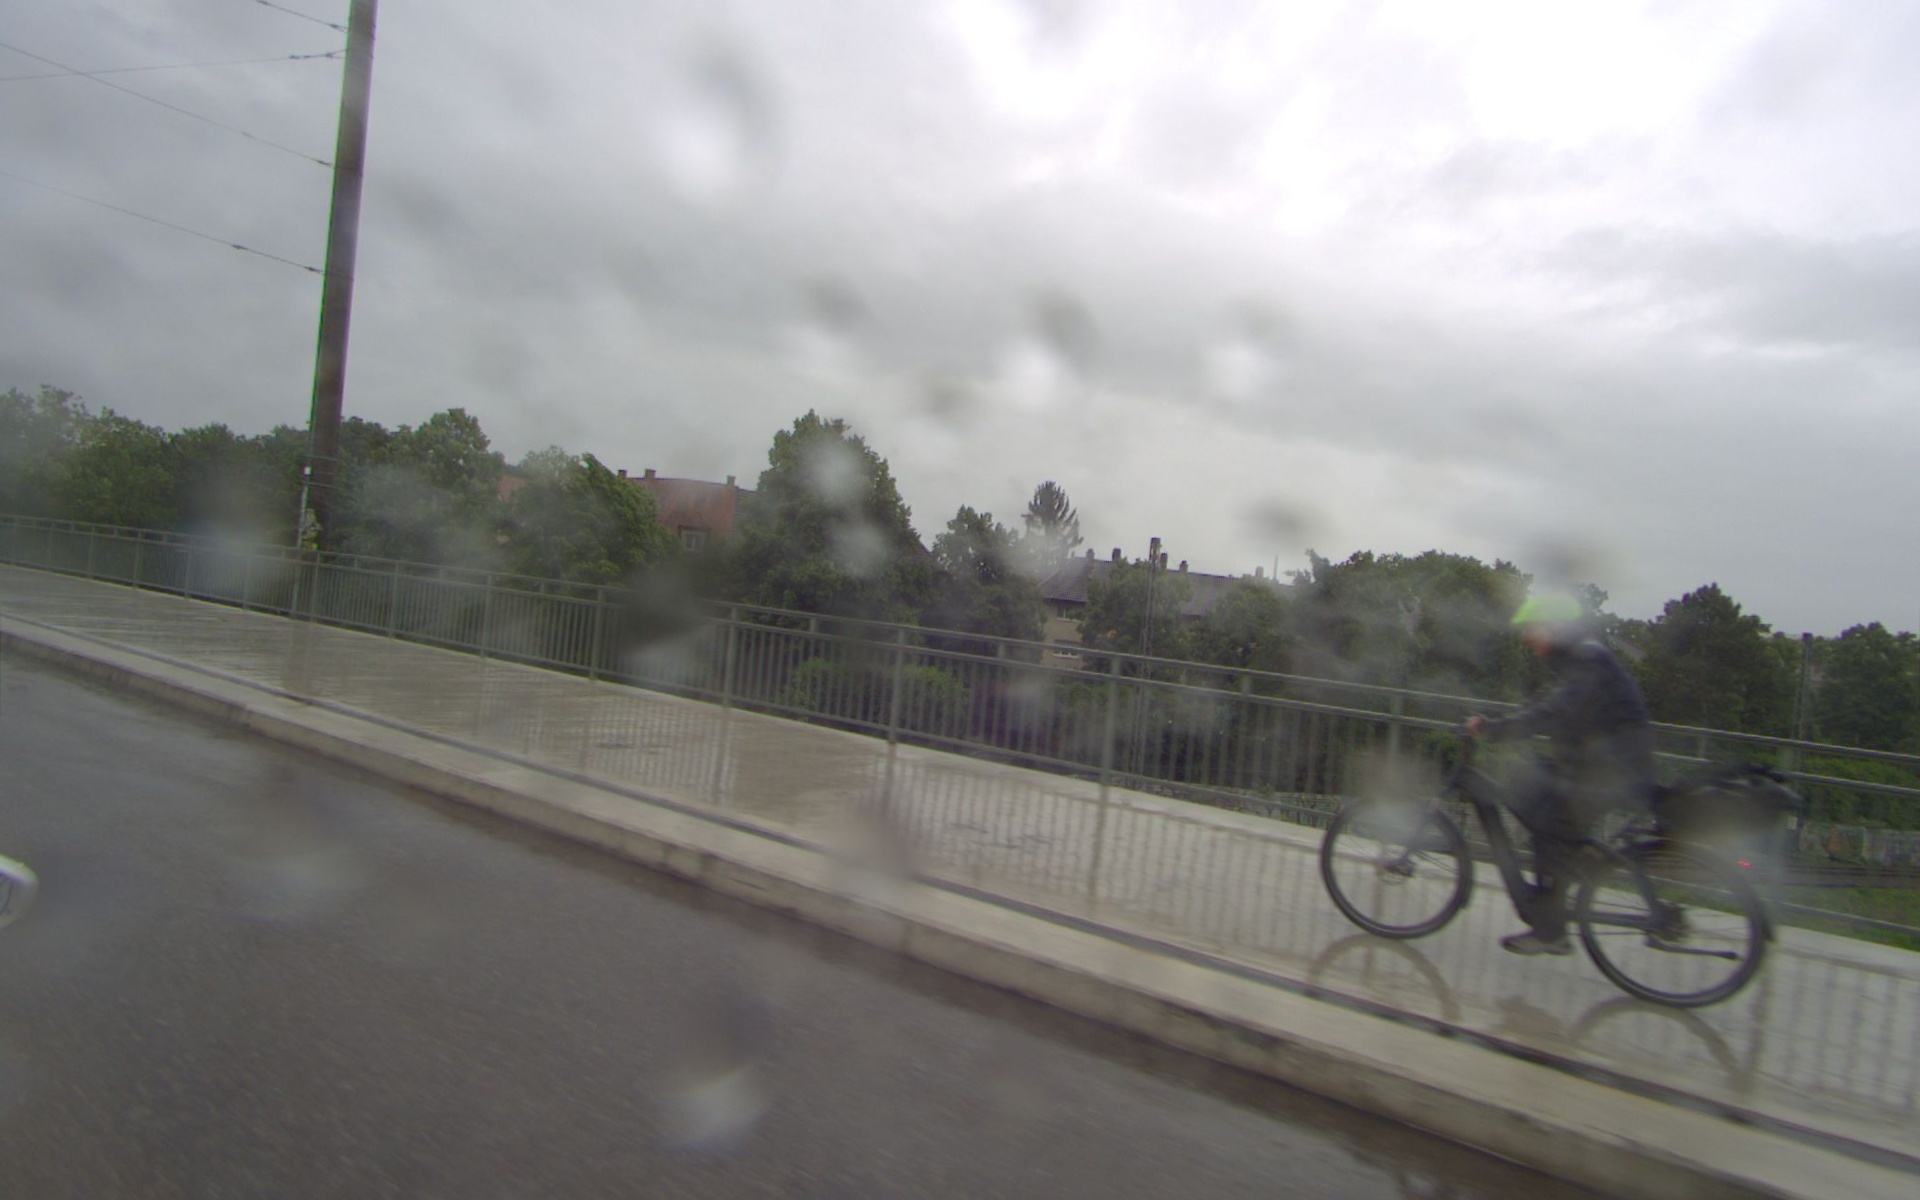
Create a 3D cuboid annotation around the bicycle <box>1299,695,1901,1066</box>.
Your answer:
[{"bbox_3d":[2.820,1.159,4.708,2.132,1.142,0.724,5,-3,32],"label":"bicycle"}]

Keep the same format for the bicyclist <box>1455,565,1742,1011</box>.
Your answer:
[{"bbox_3d":[2.926,0.795,4.676,0.934,1.783,0.727,4,-3,32],"label":"bicyclist"}]
